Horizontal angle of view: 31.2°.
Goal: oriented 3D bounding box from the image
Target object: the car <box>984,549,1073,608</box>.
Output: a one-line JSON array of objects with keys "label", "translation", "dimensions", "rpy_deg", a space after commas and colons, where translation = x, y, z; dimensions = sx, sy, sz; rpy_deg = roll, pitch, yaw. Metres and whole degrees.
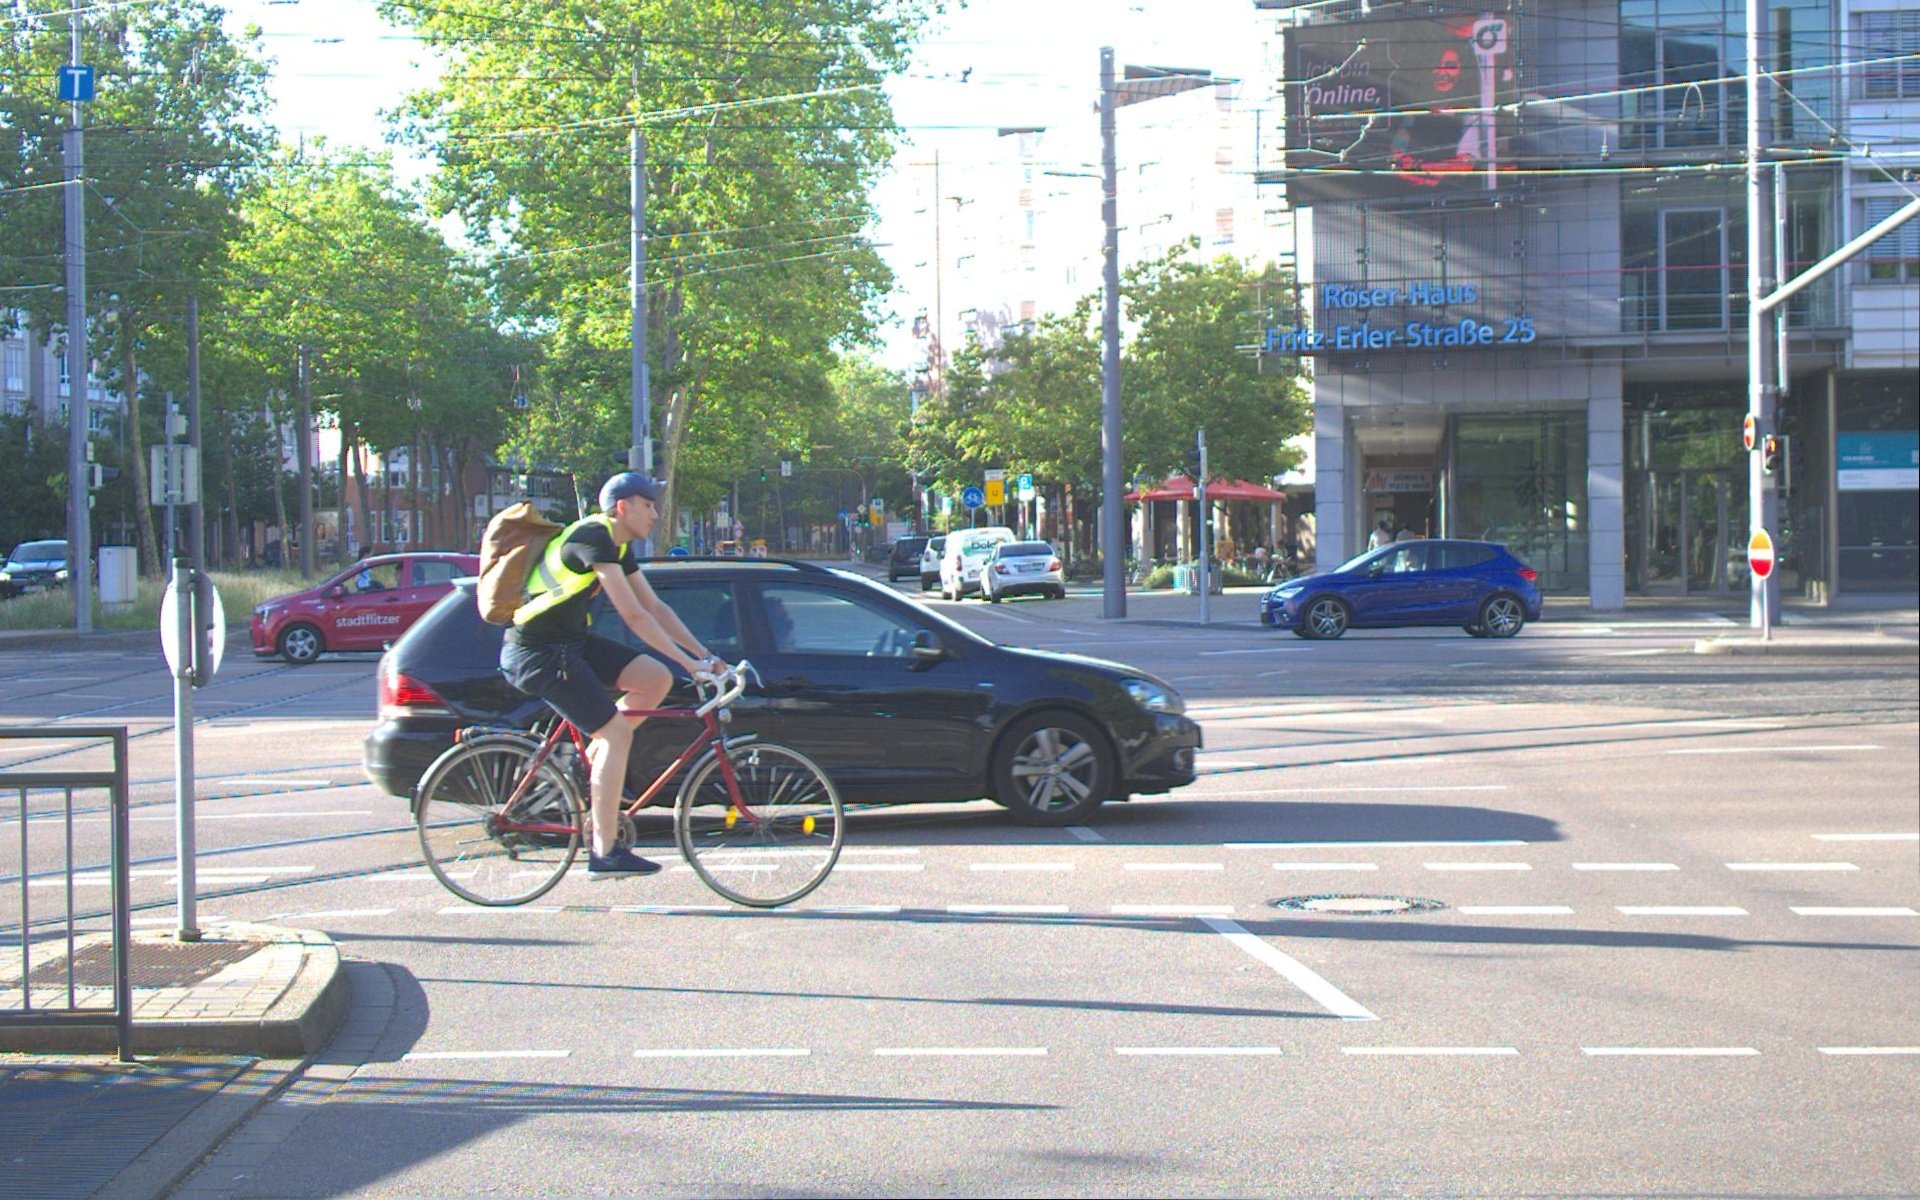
[{"label": "car", "translation": [1.634, -0.538, 82.871], "dimensions": [1.993, 1.327, 4.000], "rpy_deg": [-1, 1, -1]}]

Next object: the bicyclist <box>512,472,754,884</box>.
[{"label": "bicyclist", "translation": [-1.338, 0.310, 14.189], "dimensions": [0.904, 1.658, 0.639], "rpy_deg": [0, 1, 2]}]

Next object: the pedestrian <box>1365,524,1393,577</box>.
[{"label": "pedestrian", "translation": [11.643, -1.381, 95.500], "dimensions": [0.739, 1.460, 0.536], "rpy_deg": [-1, 1, 9]}]

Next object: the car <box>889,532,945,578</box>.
[{"label": "car", "translation": [-1.585, -1.668, 126.734], "dimensions": [1.993, 1.656, 4.000], "rpy_deg": [-1, 1, -1]}]

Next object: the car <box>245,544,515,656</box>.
[{"label": "car", "translation": [-8.056, -0.018, 47.642], "dimensions": [3.595, 1.461, 1.796], "rpy_deg": [-1, 1, -12]}]

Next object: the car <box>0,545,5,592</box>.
[{"label": "car", "translation": [-31.170, -1.006, 108.143], "dimensions": [1.906, 1.505, 4.001], "rpy_deg": [1, 1, -12]}]

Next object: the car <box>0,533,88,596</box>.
[{"label": "car", "translation": [-22.968, -0.887, 85.374], "dimensions": [1.993, 1.503, 4.001], "rpy_deg": [-1, 1, -6]}]

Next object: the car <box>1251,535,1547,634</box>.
[{"label": "car", "translation": [6.374, -0.239, 50.233], "dimensions": [3.986, 1.343, 1.976], "rpy_deg": [-1, 1, -3]}]

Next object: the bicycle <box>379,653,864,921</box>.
[{"label": "bicycle", "translation": [-1.378, 0.761, 14.209], "dimensions": [1.923, 1.060, 0.629], "rpy_deg": [0, 1, 2]}]

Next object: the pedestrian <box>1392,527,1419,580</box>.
[{"label": "pedestrian", "translation": [12.317, -1.293, 95.048], "dimensions": [0.706, 1.460, 0.384], "rpy_deg": [-1, 1, 9]}]

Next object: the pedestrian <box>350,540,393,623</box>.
[{"label": "pedestrian", "translation": [-10.836, -0.344, 63.326], "dimensions": [0.754, 1.525, 0.508], "rpy_deg": [0, 1, -7]}]

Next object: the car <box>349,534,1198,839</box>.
[{"label": "car", "translation": [-1.022, 0.421, 18.820], "dimensions": [4.383, 1.512, 2.001], "rpy_deg": [0, 2, -5]}]

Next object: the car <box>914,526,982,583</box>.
[{"label": "car", "translation": [-0.378, -1.401, 105.017], "dimensions": [1.993, 1.656, 4.000], "rpy_deg": [-1, 1, -1]}]

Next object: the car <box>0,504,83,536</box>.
[{"label": "car", "translation": [-46.538, -4.037, 173.765], "dimensions": [3.987, 1.547, 1.607], "rpy_deg": [1, 1, -31]}]

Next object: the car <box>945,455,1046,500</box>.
[{"label": "car", "translation": [1.458, -5.009, 140.221], "dimensions": [3.764, 1.744, 1.780], "rpy_deg": [1, 0, 14]}]

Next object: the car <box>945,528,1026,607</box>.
[{"label": "car", "translation": [0.645, -0.875, 89.706], "dimensions": [1.993, 1.985, 4.000], "rpy_deg": [-1, 1, -1]}]
